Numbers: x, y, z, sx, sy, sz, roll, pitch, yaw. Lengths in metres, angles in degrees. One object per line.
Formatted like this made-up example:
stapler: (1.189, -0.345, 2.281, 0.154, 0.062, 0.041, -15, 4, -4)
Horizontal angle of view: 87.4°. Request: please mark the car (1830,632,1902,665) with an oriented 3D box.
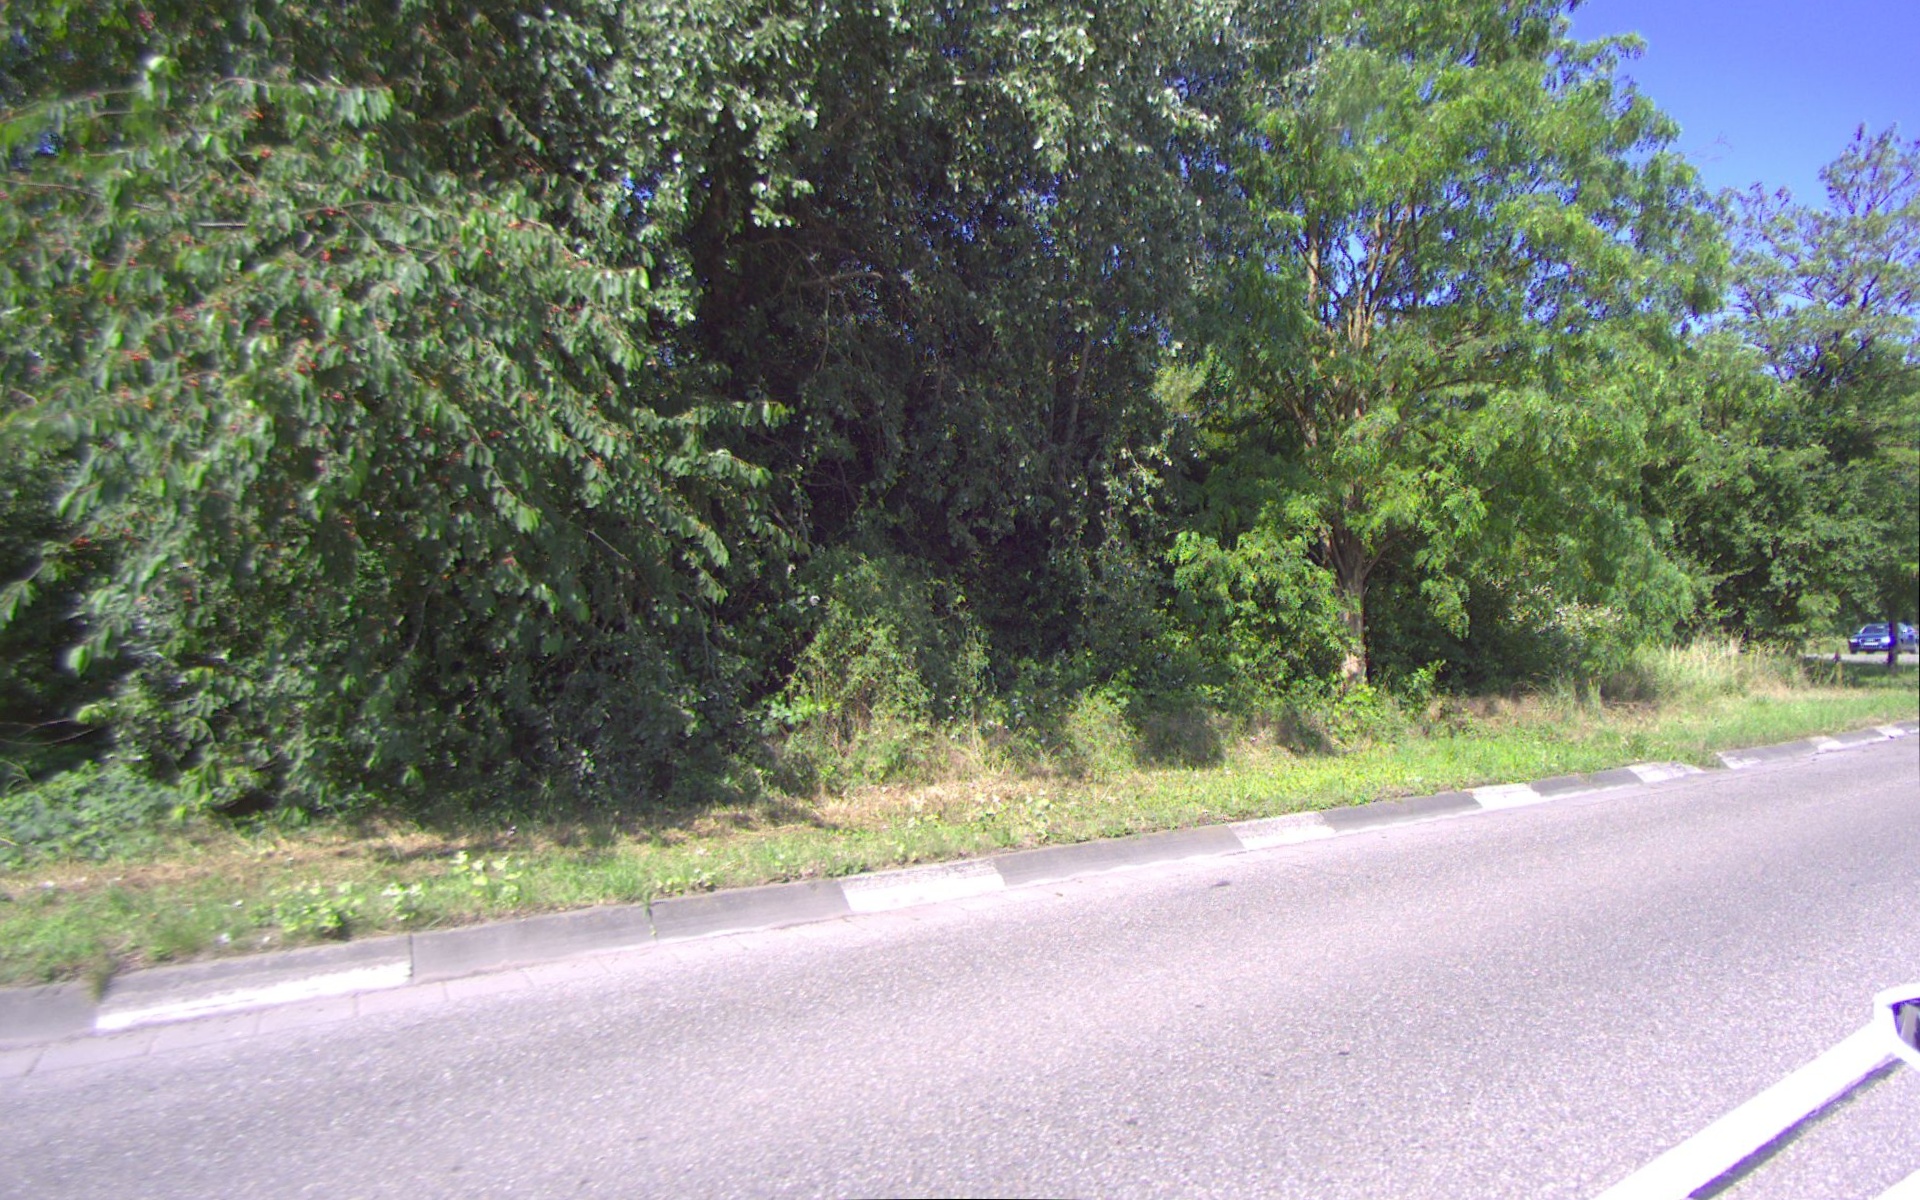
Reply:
car: (41.662, 2.192, 46.277, 1.808, 1.405, 4.411, -2, -2, 34)
